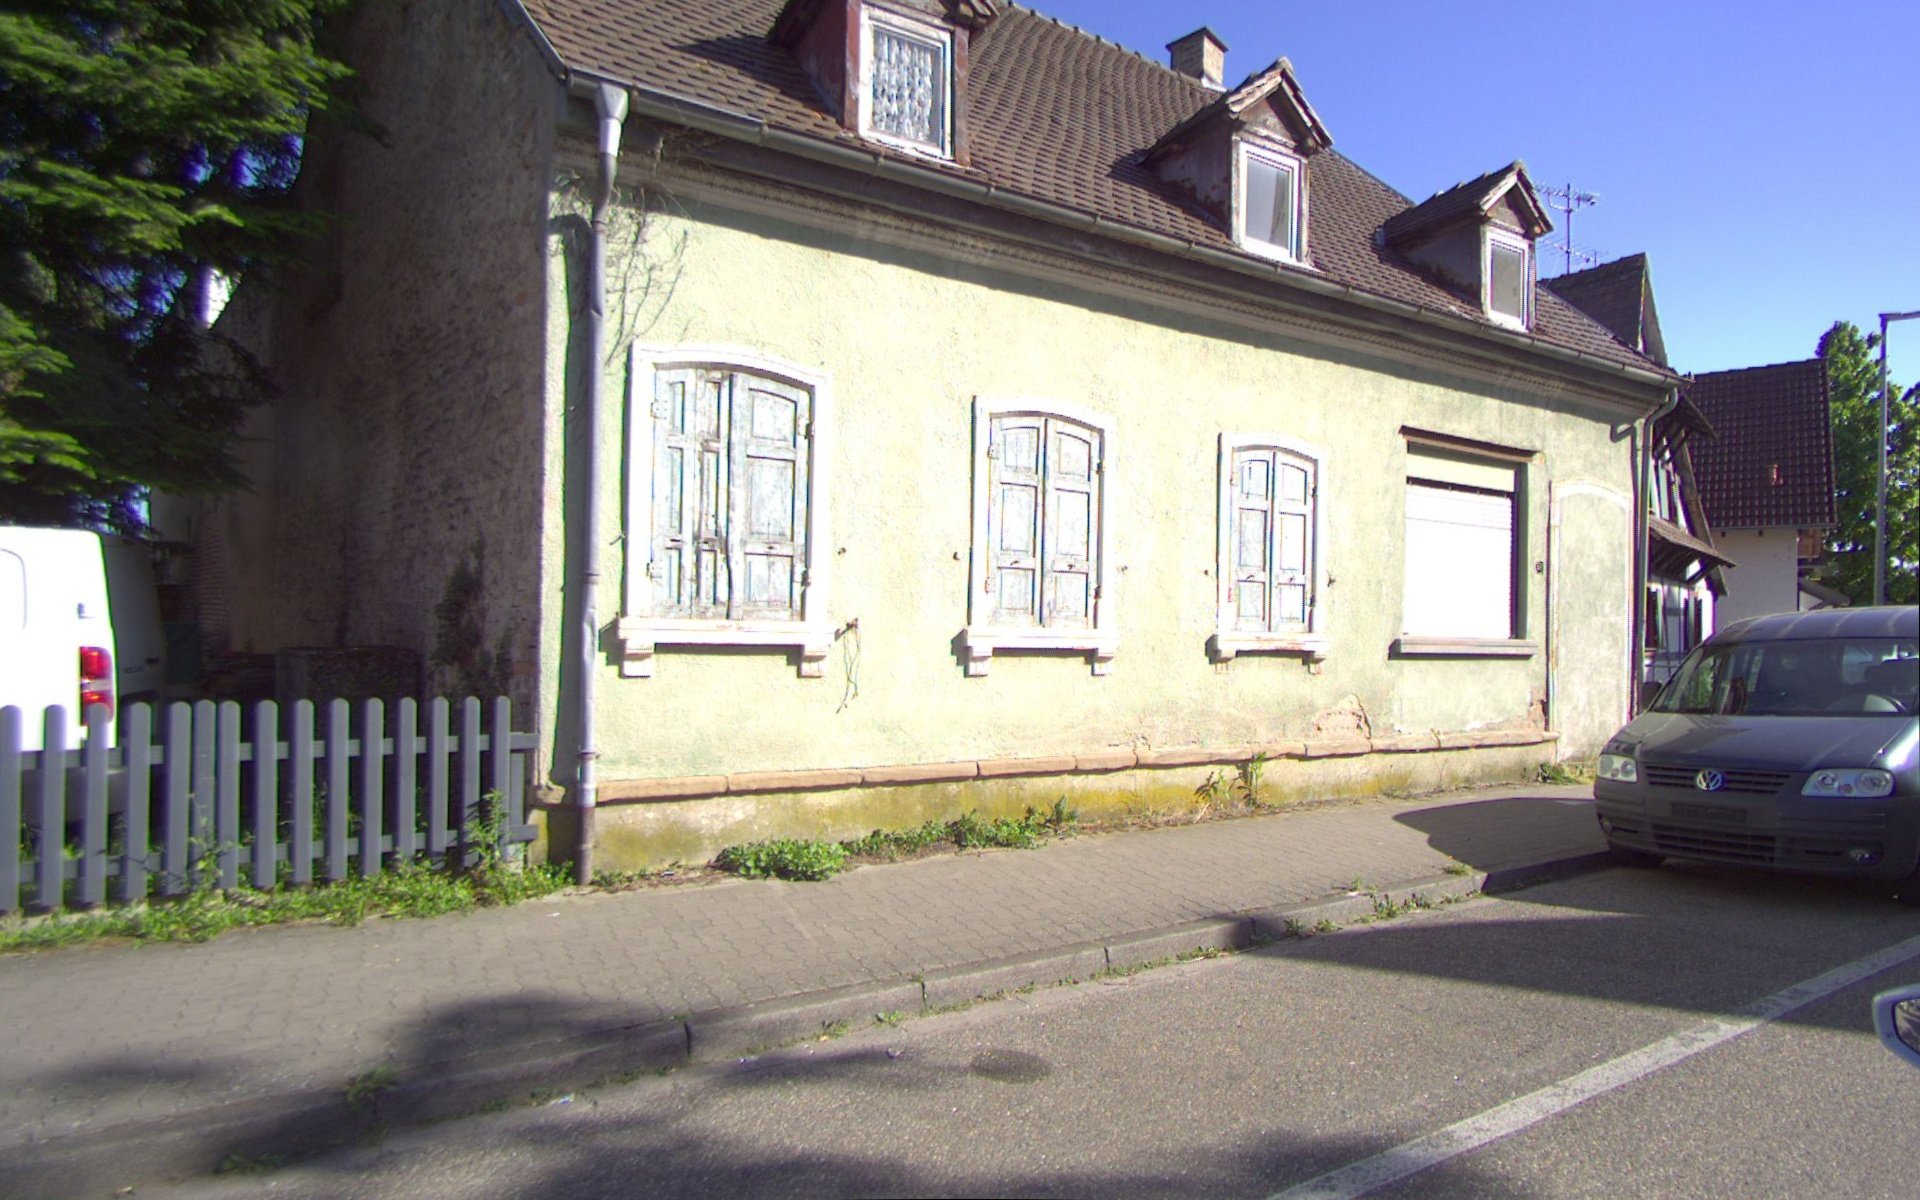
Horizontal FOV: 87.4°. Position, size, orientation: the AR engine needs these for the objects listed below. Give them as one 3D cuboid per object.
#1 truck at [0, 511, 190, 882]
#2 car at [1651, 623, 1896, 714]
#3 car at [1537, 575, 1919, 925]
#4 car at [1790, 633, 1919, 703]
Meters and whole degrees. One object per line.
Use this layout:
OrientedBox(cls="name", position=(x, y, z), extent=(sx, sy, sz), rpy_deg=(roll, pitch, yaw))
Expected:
OrientedBox(cls="truck", position=(-6.932, 0.424, 4.957), extent=(4.697, 1.873, 1.984), rpy_deg=(2, 0, -31))
OrientedBox(cls="car", position=(17.494, 1.413, 21.837), extent=(3.937, 1.610, 1.992), rpy_deg=(3, 0, 38))
OrientedBox(cls="car", position=(6.228, 0.889, 7.178), extent=(4.305, 1.813, 1.823), rpy_deg=(2, -4, -32))
OrientedBox(cls="car", position=(23.510, 1.761, 26.149), extent=(4.401, 1.617, 1.805), rpy_deg=(3, -1, -35))
